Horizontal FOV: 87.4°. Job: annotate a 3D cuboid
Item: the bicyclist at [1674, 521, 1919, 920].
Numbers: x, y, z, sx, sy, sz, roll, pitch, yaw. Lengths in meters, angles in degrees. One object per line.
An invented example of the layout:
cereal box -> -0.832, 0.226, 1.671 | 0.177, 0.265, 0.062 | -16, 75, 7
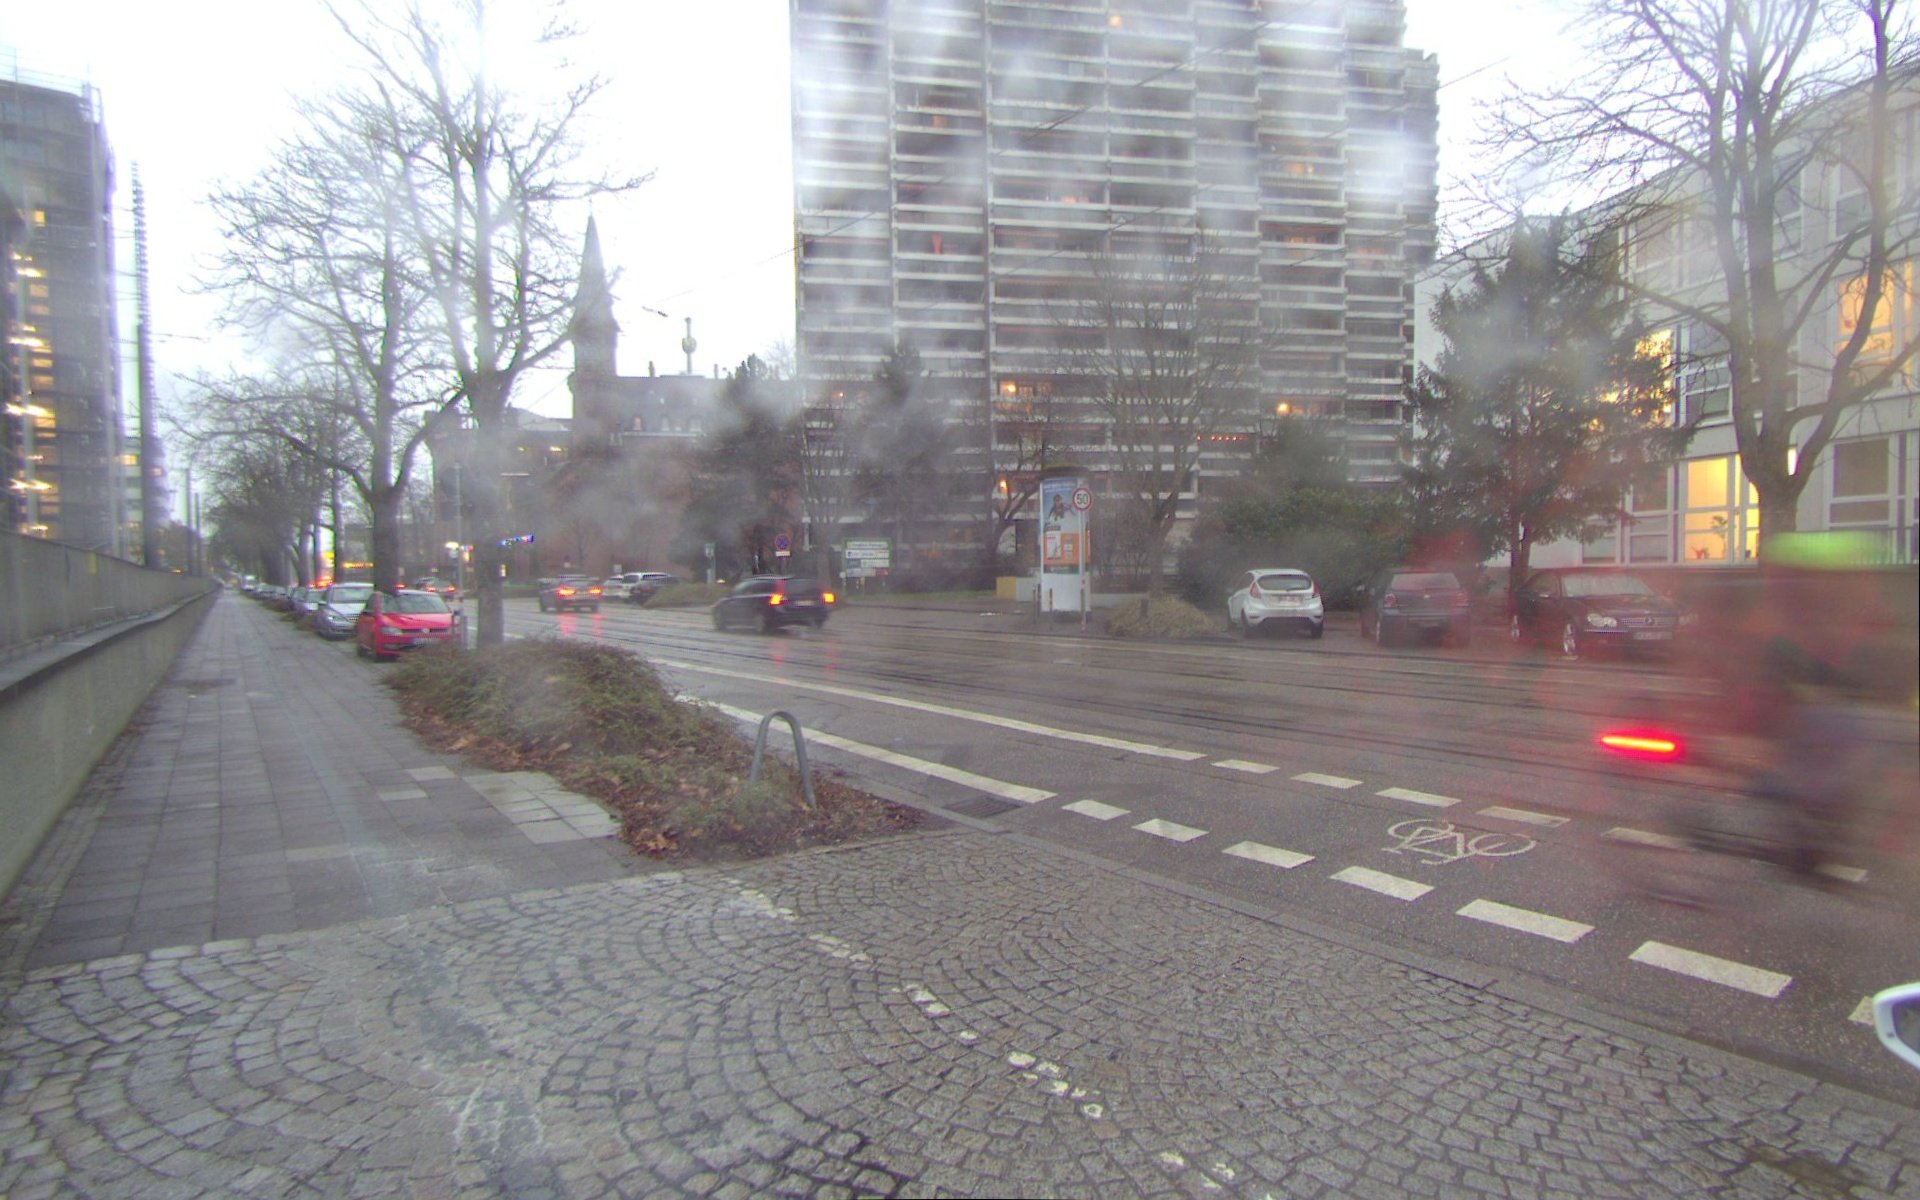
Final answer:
bicyclist -> 3.584, 0.437, 4.168 | 0.651, 1.466, 0.841 | -1, 1, -34

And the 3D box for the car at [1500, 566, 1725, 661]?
car -> 10.719, 0.175, 16.863 | 1.818, 1.397, 4.002 | -1, 1, 12

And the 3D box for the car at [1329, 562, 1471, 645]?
car -> 8.708, 0.039, 20.225 | 1.818, 1.482, 4.002 | -1, 1, 12

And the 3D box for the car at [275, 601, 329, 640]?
car -> -28.918, 0.856, 44.122 | 1.848, 1.615, 3.962 | -1, 1, -34

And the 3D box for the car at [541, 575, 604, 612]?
car -> -17.568, -0.306, 45.426 | 1.695, 1.600, 4.336 | -1, 1, -35

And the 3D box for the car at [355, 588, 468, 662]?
car -> -11.794, 0.475, 21.478 | 1.736, 1.406, 3.700 | -1, 1, -35

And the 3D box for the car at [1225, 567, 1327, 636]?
car -> 7.111, 0.002, 22.967 | 1.818, 1.418, 4.002 | -1, 1, 12

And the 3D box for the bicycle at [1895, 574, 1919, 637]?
bicycle -> 18.541, 0.082, 18.676 | 2.168, 1.136, 0.640 | -1, 1, -14

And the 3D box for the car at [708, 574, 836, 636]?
car -> -5.195, 0.105, 27.388 | 1.737, 1.565, 4.250 | -1, 1, -37

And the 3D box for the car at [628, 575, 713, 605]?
car -> -15.103, -0.550, 52.448 | 3.954, 1.506, 1.658 | -1, 1, -31

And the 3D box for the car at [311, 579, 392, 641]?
car -> -17.286, 0.244, 28.455 | 1.736, 1.605, 3.700 | -1, 1, -35

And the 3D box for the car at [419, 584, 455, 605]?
car -> -38.230, -0.403, 73.397 | 1.750, 1.430, 3.959 | -1, 1, -36

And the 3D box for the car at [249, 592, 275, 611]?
car -> -60.249, 0.104, 86.743 | 1.736, 1.605, 3.700 | -1, 1, -35

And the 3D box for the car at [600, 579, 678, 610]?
car -> -18.568, -0.336, 58.164 | 3.954, 1.662, 1.983 | -1, 1, -31

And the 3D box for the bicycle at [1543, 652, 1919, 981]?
bicycle -> 3.616, 0.833, 4.139 | 0.702, 1.111, 2.010 | -1, 1, -33

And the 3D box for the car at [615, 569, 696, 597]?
car -> -16.714, -0.927, 55.206 | 3.954, 1.506, 1.658 | -1, 1, -31
